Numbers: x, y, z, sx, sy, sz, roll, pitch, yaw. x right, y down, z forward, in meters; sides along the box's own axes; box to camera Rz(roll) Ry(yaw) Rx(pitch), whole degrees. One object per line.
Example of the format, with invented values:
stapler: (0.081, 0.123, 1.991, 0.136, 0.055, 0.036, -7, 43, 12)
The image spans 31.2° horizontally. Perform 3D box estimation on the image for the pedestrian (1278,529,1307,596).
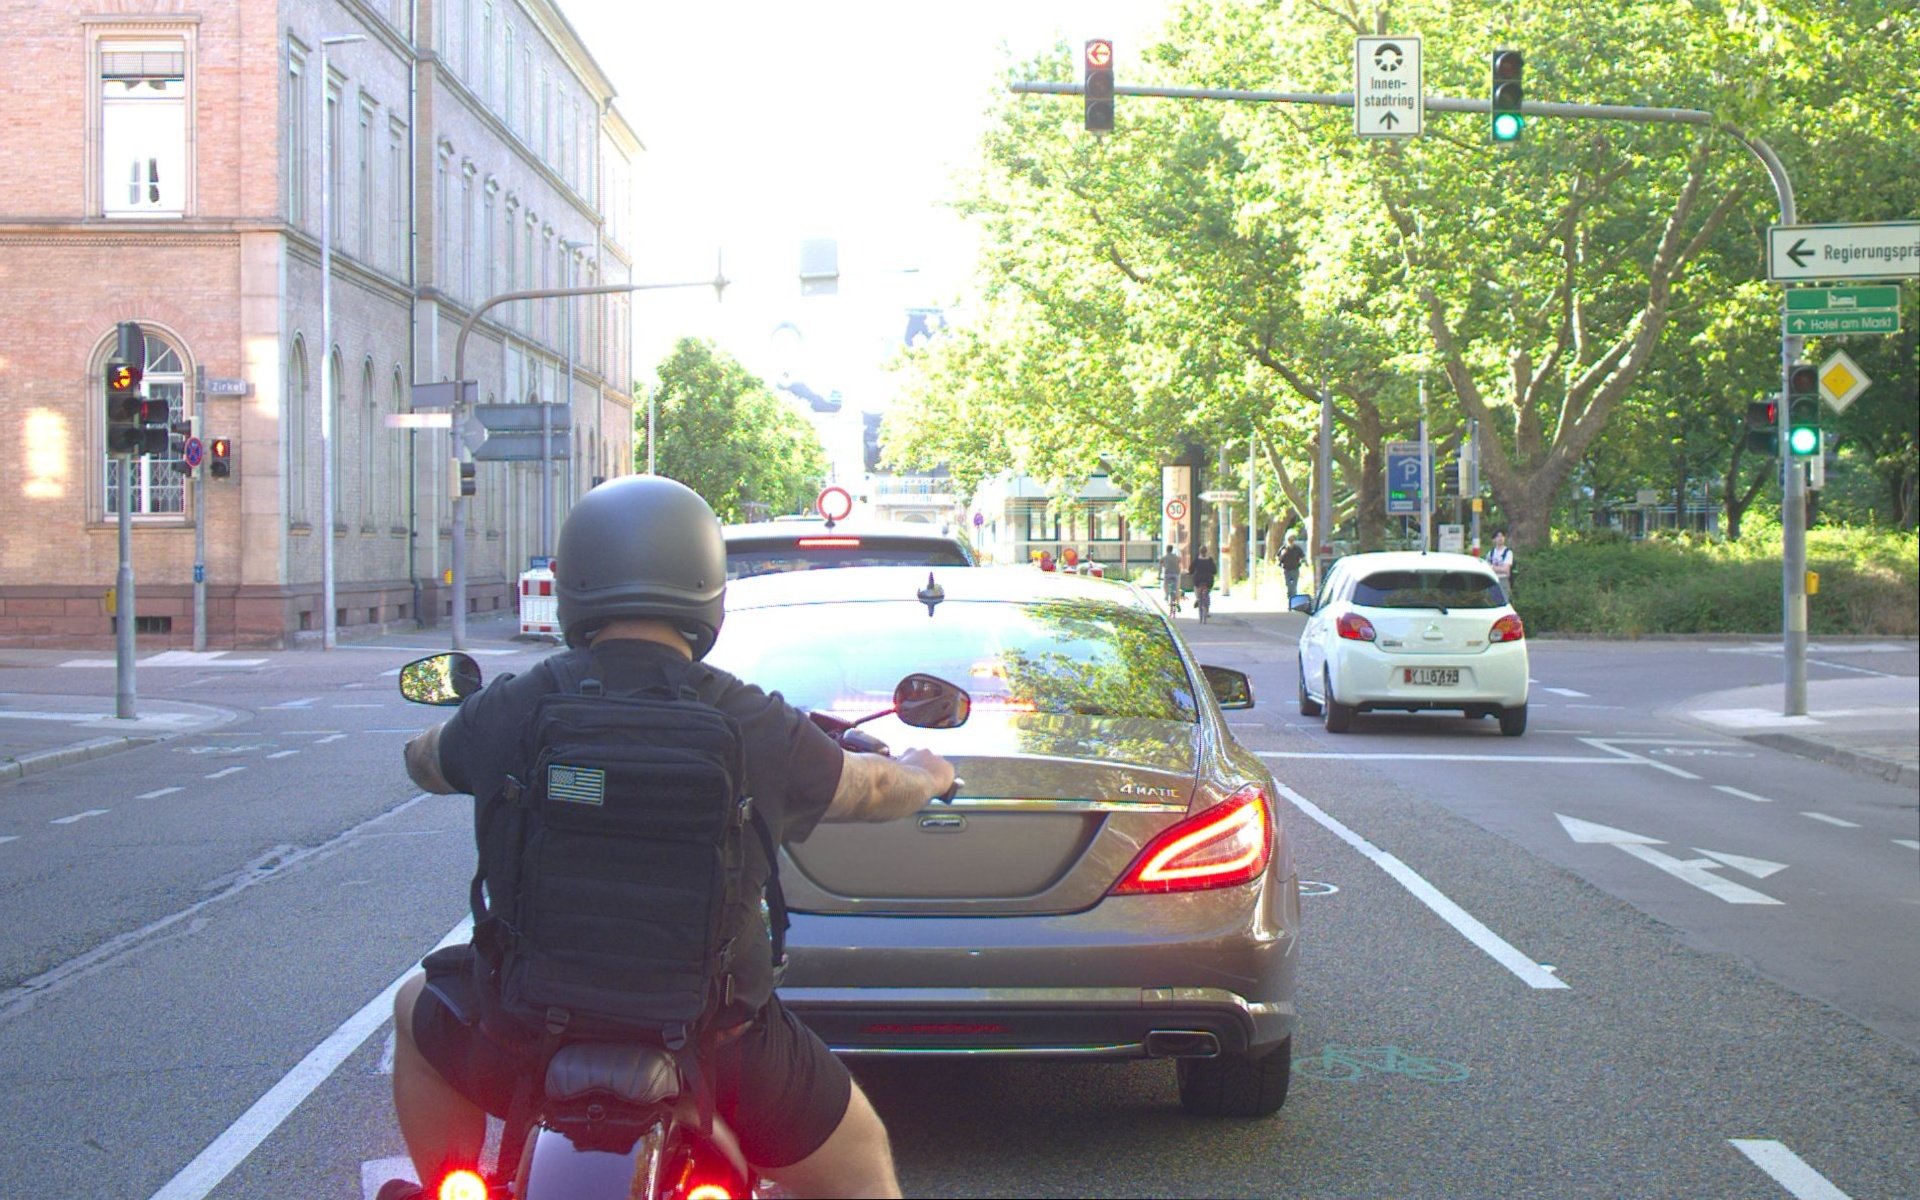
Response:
pedestrian: (7.884, -0.892, 81.466, 0.592, 1.573, 0.527, 2, 0, 0)

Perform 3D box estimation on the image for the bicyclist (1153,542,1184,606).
bicyclist: (5.046, -0.637, 83.262, 0.656, 1.525, 0.906, 2, 0, -1)

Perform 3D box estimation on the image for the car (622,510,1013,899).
car: (-0.799, 0.431, 16.769, 1.630, 1.645, 3.851, 2, 1, -6)

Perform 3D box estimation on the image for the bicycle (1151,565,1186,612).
bicycle: (5.044, -0.285, 83.293, 0.656, 1.107, 2.186, 2, 1, -1)

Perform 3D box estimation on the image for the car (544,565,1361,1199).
car: (-0.043, 0.632, 9.657, 1.828, 1.415, 3.815, 1, 1, -1)

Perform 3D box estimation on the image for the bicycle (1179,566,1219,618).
bicycle: (5.078, -0.180, 73.220, 0.656, 1.066, 1.927, 2, 1, -1)

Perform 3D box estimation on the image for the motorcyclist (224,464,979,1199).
motorcyclist: (-0.490, 0.603, 5.334, 1.012, 1.596, 1.406, 0, 1, -1)

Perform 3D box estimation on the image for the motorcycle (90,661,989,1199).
motorcycle: (-0.492, 0.792, 5.224, 1.012, 1.302, 2.673, 0, 1, -1)

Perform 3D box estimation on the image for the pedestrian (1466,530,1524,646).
pedestrian: (8.274, -0.191, 53.201, 0.570, 1.768, 0.625, 1, 0, -35)

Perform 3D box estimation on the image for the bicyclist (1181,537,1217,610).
bicyclist: (5.081, -0.573, 73.246, 0.656, 1.525, 0.852, 2, 0, -1)

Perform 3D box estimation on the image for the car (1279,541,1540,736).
car: (3.714, 0.284, 28.940, 1.679, 1.493, 3.685, 2, 1, 0)
